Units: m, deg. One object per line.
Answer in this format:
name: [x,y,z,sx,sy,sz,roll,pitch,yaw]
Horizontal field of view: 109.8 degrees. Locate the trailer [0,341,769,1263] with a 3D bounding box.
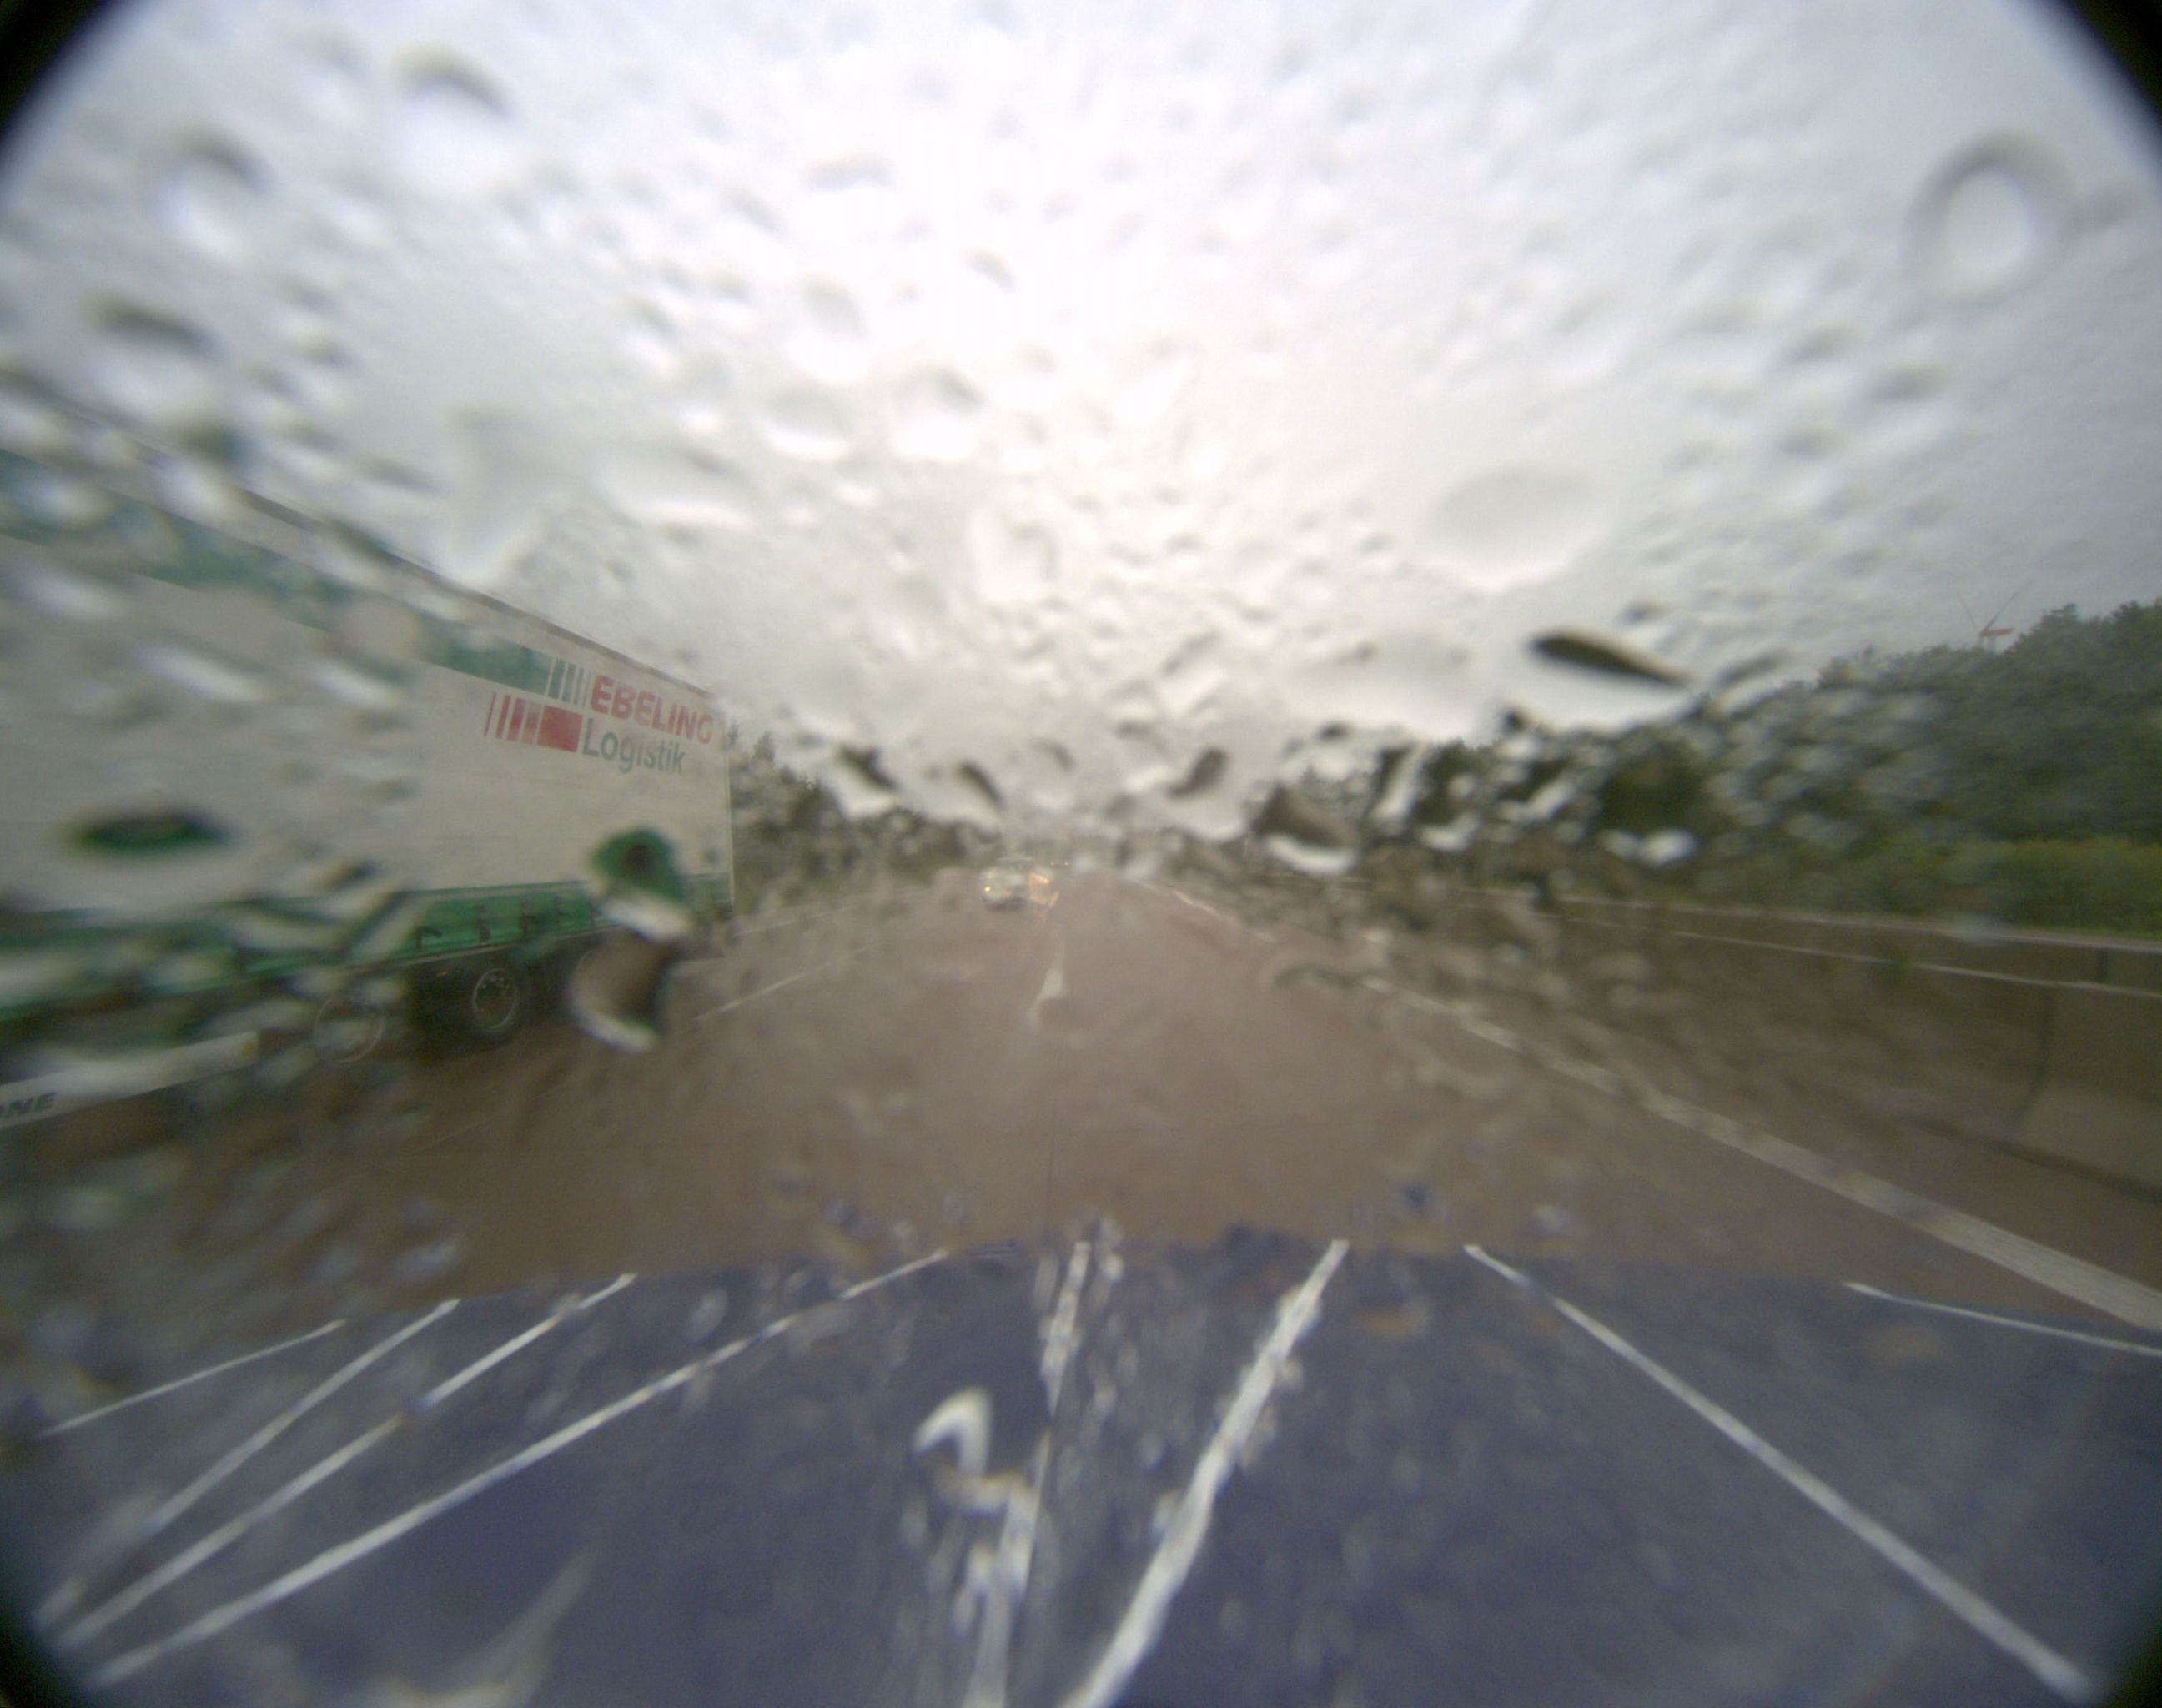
trailer: [-6.374,-0.227,5.551,2.860,4.206,13.131,0,0,0]

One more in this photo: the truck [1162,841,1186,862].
truck: [17.558,-0.474,144.258,3.481,3.866,7.463,-2,1,0]

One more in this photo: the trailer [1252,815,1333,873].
trailer: [17.801,-0.731,65.101,3.439,4.439,12.445,0,0,0]

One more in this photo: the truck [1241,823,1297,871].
truck: [17.819,-0.639,72.623,3.428,4.334,7.947,0,0,0]

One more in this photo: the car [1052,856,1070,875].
car: [-2.206,1.248,84.879,1.999,2.002,4.276,0,0,-1]

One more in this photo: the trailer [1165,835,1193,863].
trailer: [17.551,-0.930,137.249,3.439,4.839,12.443,-2,1,0]

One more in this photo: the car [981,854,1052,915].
car: [-2.000,0.891,24.829,1.813,1.718,4.743,-2,0,0]

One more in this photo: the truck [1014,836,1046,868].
truck: [-6.148,-0.271,93.606,3.242,3.708,7.954,-2,0,0]
